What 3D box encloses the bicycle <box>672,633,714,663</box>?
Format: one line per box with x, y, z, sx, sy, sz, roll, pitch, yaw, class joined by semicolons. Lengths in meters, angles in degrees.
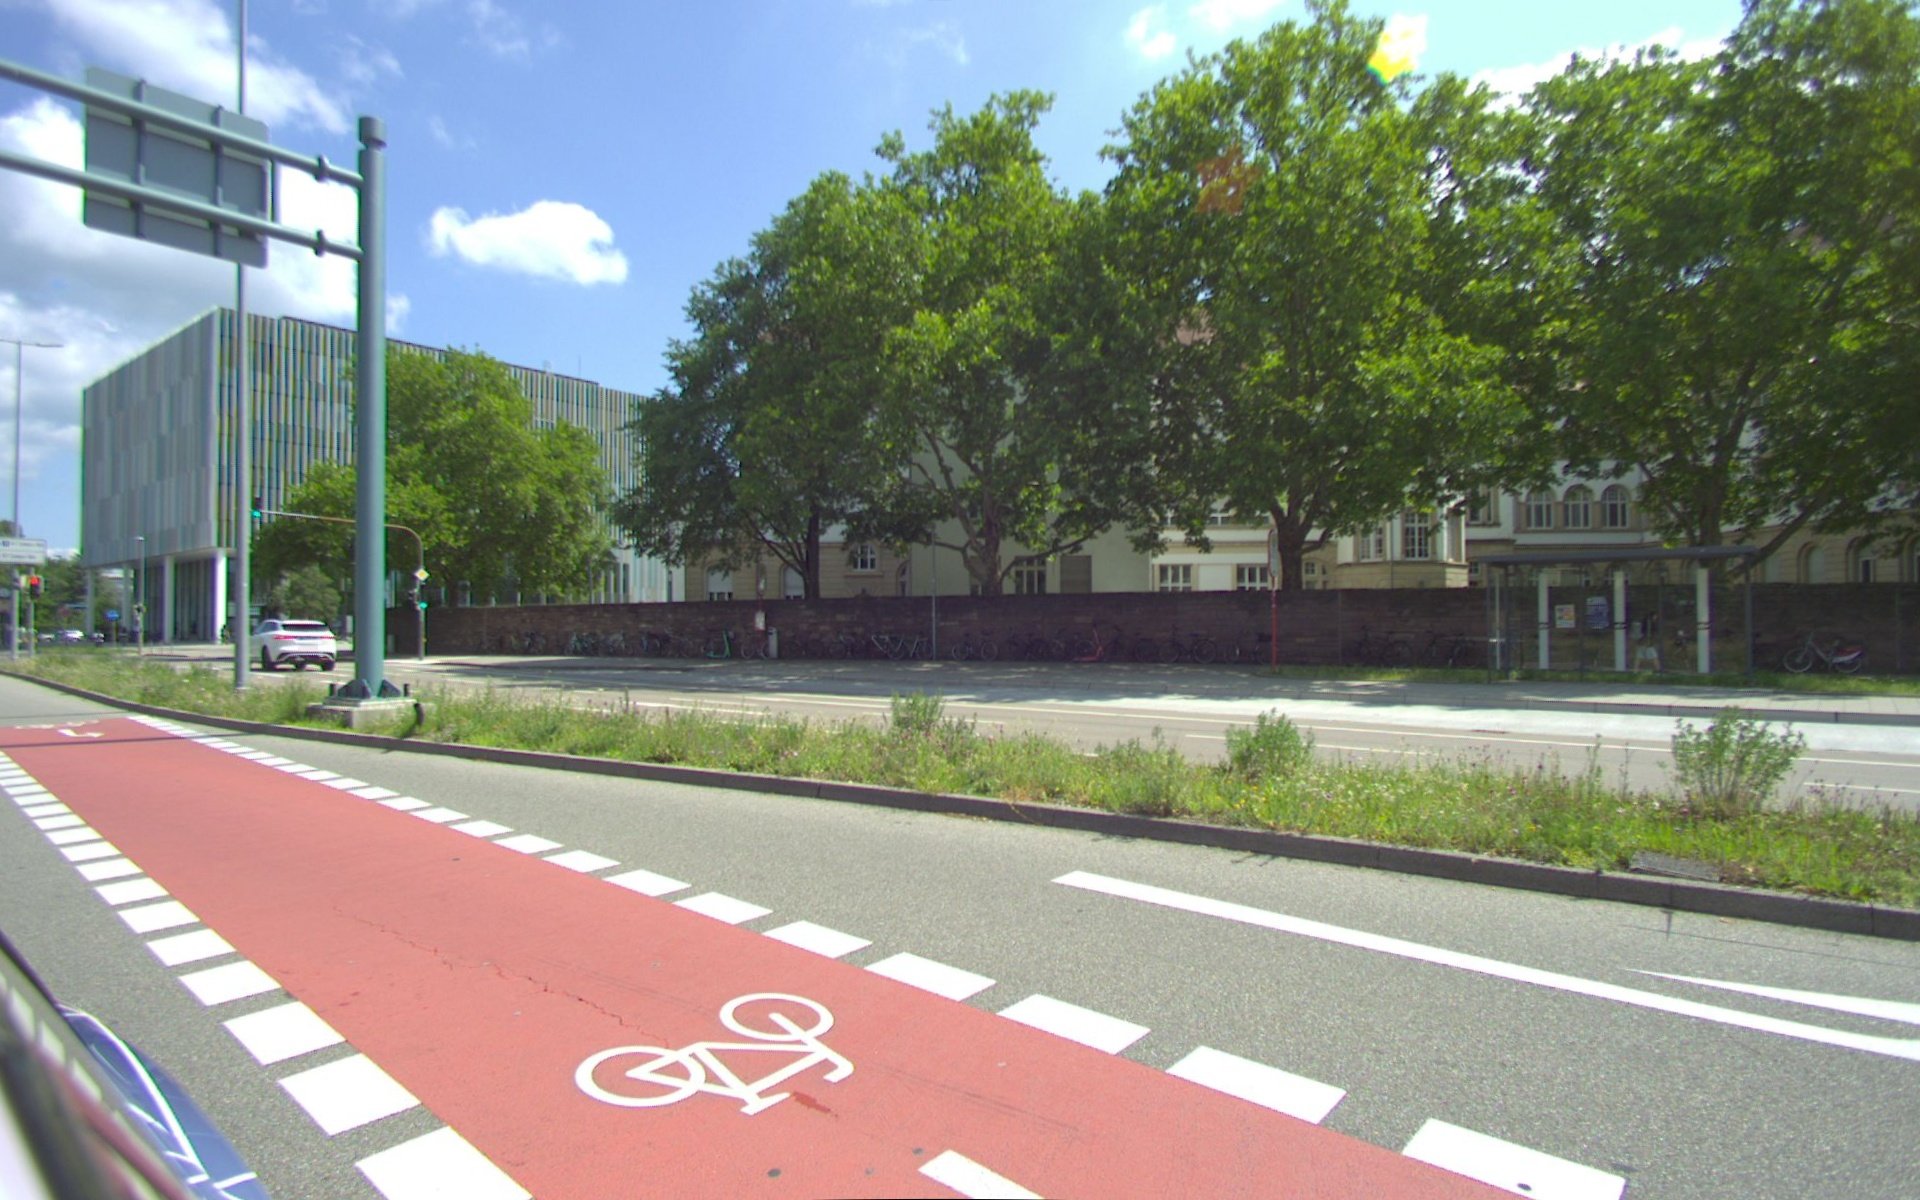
-10.481;1.894;39.717;1.582;1.161;0.530;-1;-2;19;bicycle

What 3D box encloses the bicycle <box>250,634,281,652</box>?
-58.059;3.579;84.673;0.919;1.505;2.690;0;-1;-4;bicycle

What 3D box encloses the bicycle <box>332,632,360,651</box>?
-51.542;3.463;85.038;0.983;1.564;3.423;0;-2;-13;bicycle

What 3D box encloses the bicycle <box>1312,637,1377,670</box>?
10.893;1.522;28.693;1.656;0.909;0.540;-1;-2;26;bicycle

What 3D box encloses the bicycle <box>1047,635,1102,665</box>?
3.628;1.580;31.994;1.658;0.909;0.540;-1;-2;29;bicycle

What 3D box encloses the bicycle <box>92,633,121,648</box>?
-90.995;4.301;107.924;0.621;1.506;2.300;-2;-2;41;bicycle

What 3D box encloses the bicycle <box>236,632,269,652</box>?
-59.103;3.492;84.575;0.797;1.656;3.420;0;-2;-8;bicycle

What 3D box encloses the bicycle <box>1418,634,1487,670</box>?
13.435;1.428;27.667;1.655;0.959;0.541;-1;-2;24;bicycle

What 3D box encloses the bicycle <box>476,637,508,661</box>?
-21.766;2.273;47.072;1.589;1.107;0.567;-2;-2;33;bicycle

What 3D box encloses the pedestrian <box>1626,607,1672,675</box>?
16.646;0.980;24.450;0.752;1.629;0.612;-1;-1;20;pedestrian

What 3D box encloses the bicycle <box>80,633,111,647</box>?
-93.322;4.325;109.235;0.621;1.506;2.479;-2;-2;41;bicycle

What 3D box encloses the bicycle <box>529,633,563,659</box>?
-18.451;2.041;45.062;1.589;1.161;0.616;-2;-2;33;bicycle

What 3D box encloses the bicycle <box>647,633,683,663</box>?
-11.861;1.925;40.676;1.587;1.161;0.398;-2;-2;30;bicycle

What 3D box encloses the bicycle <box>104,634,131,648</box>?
-87.332;4.244;104.912;0.621;1.506;2.044;-2;-2;41;bicycle

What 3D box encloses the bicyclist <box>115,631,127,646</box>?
-70.042;3.195;84.513;0.833;1.235;0.610;-2;-2;39;bicyclist

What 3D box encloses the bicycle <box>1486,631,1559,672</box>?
14.962;1.365;26.957;1.614;1.059;0.541;-1;-2;24;bicycle

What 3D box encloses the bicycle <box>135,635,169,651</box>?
-77.152;4.090;96.645;0.621;1.506;2.420;-2;-2;41;bicycle

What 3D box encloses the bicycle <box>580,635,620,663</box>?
-15.070;2.048;42.322;1.576;1.161;0.401;-1;-2;8;bicycle

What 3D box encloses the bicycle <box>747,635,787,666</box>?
-7.230;1.879;37.927;1.587;1.151;0.429;-2;-2;29;bicycle

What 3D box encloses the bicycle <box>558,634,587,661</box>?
-16.936;2.052;44.217;1.591;1.161;0.408;-2;-2;36;bicycle

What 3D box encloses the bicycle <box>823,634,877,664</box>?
-3.910;1.737;35.943;1.941;1.055;0.540;-2;-2;29;bicycle

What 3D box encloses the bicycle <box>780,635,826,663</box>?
-5.750;1.786;37.045;1.795;1.016;0.476;-2;-2;32;bicycle

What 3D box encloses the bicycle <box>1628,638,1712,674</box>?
18.238;1.441;26.041;1.653;0.909;0.541;-1;-2;21;bicycle

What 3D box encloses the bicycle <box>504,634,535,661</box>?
-19.964;2.151;45.908;1.589;1.161;0.495;-2;-2;33;bicycle

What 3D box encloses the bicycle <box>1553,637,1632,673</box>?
16.625;1.442;26.621;1.653;0.909;0.541;-1;-2;21;bicycle

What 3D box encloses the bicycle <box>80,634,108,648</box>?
-94.696;4.459;110.682;0.656;1.506;2.273;-2;-2;41;bicycle

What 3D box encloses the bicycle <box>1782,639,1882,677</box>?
21.543;1.434;25.030;1.781;0.909;0.450;-1;-2;21;bicycle

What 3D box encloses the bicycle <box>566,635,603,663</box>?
-15.977;2.083;43.017;1.581;1.161;0.400;-1;-2;18;bicycle

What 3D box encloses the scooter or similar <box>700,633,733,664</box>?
-9.199;1.846;38.260;1.184;1.161;0.430;-1;-2;20;scooter or similar

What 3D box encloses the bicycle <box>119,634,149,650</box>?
-82.386;4.170;100.954;0.621;1.506;2.172;-2;-2;41;bicycle

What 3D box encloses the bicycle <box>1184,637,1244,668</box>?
7.563;1.558;30.168;1.656;0.909;0.540;-1;-2;26;bicycle

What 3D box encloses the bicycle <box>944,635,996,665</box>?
0.321;1.652;33.390;1.658;0.956;0.540;-2;-2;29;bicycle

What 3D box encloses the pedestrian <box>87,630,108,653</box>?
-64.863;3.120;76.098;0.876;1.641;0.961;-1;-2;32;pedestrian

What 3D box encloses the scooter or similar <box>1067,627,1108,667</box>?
3.909;1.445;31.097;1.184;1.192;0.430;-1;-2;20;scooter or similar

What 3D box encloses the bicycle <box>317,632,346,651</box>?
-52.766;3.458;85.017;0.983;1.564;3.423;0;-2;-13;bicycle

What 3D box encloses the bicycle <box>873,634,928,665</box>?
-2.063;1.692;34.793;1.887;1.055;0.540;-2;-2;29;bicycle

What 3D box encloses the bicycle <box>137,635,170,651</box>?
-77.732;4.106;97.517;2.473;1.506;0.731;1;-2;-39;bicycle

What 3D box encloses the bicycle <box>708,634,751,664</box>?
-8.858;1.880;38.945;1.582;1.161;0.530;-1;-2;19;bicycle

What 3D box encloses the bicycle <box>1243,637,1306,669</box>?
9.075;1.527;29.252;1.663;0.909;0.497;-2;-2;38;bicycle

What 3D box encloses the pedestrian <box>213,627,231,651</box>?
-59.239;3.114;81.200;0.955;1.940;0.882;0;-2;-20;pedestrian

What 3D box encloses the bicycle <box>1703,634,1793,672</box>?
19.832;1.332;25.498;1.653;0.909;0.541;-1;-2;21;bicycle

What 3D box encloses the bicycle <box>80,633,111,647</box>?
-93.783;4.335;109.774;0.621;1.506;2.479;-2;-2;41;bicycle

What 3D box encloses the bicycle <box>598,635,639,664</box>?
-14.079;2.037;41.733;1.576;1.161;0.401;-1;-2;8;bicycle

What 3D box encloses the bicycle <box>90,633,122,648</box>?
-90.324;4.284;107.063;0.621;1.506;2.479;-2;-2;41;bicycle

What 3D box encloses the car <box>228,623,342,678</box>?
-22.271;1.611;33.320;4.774;1.680;2.049;-2;-2;42;car

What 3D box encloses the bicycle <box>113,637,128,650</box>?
-69.936;3.616;84.322;2.163;1.006;0.638;-2;-2;42;bicycle

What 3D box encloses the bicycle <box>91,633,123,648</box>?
-89.539;4.269;106.268;0.621;1.506;2.479;-2;-2;41;bicycle

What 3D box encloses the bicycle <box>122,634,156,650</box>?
-80.136;4.130;98.822;0.621;1.506;2.479;-2;-2;41;bicycle

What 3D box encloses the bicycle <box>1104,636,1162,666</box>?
5.322;1.561;31.123;1.658;0.909;0.540;-2;-2;29;bicycle

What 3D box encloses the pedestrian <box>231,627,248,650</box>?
-60.393;3.223;84.805;0.955;1.940;0.882;0;-2;-23;pedestrian
